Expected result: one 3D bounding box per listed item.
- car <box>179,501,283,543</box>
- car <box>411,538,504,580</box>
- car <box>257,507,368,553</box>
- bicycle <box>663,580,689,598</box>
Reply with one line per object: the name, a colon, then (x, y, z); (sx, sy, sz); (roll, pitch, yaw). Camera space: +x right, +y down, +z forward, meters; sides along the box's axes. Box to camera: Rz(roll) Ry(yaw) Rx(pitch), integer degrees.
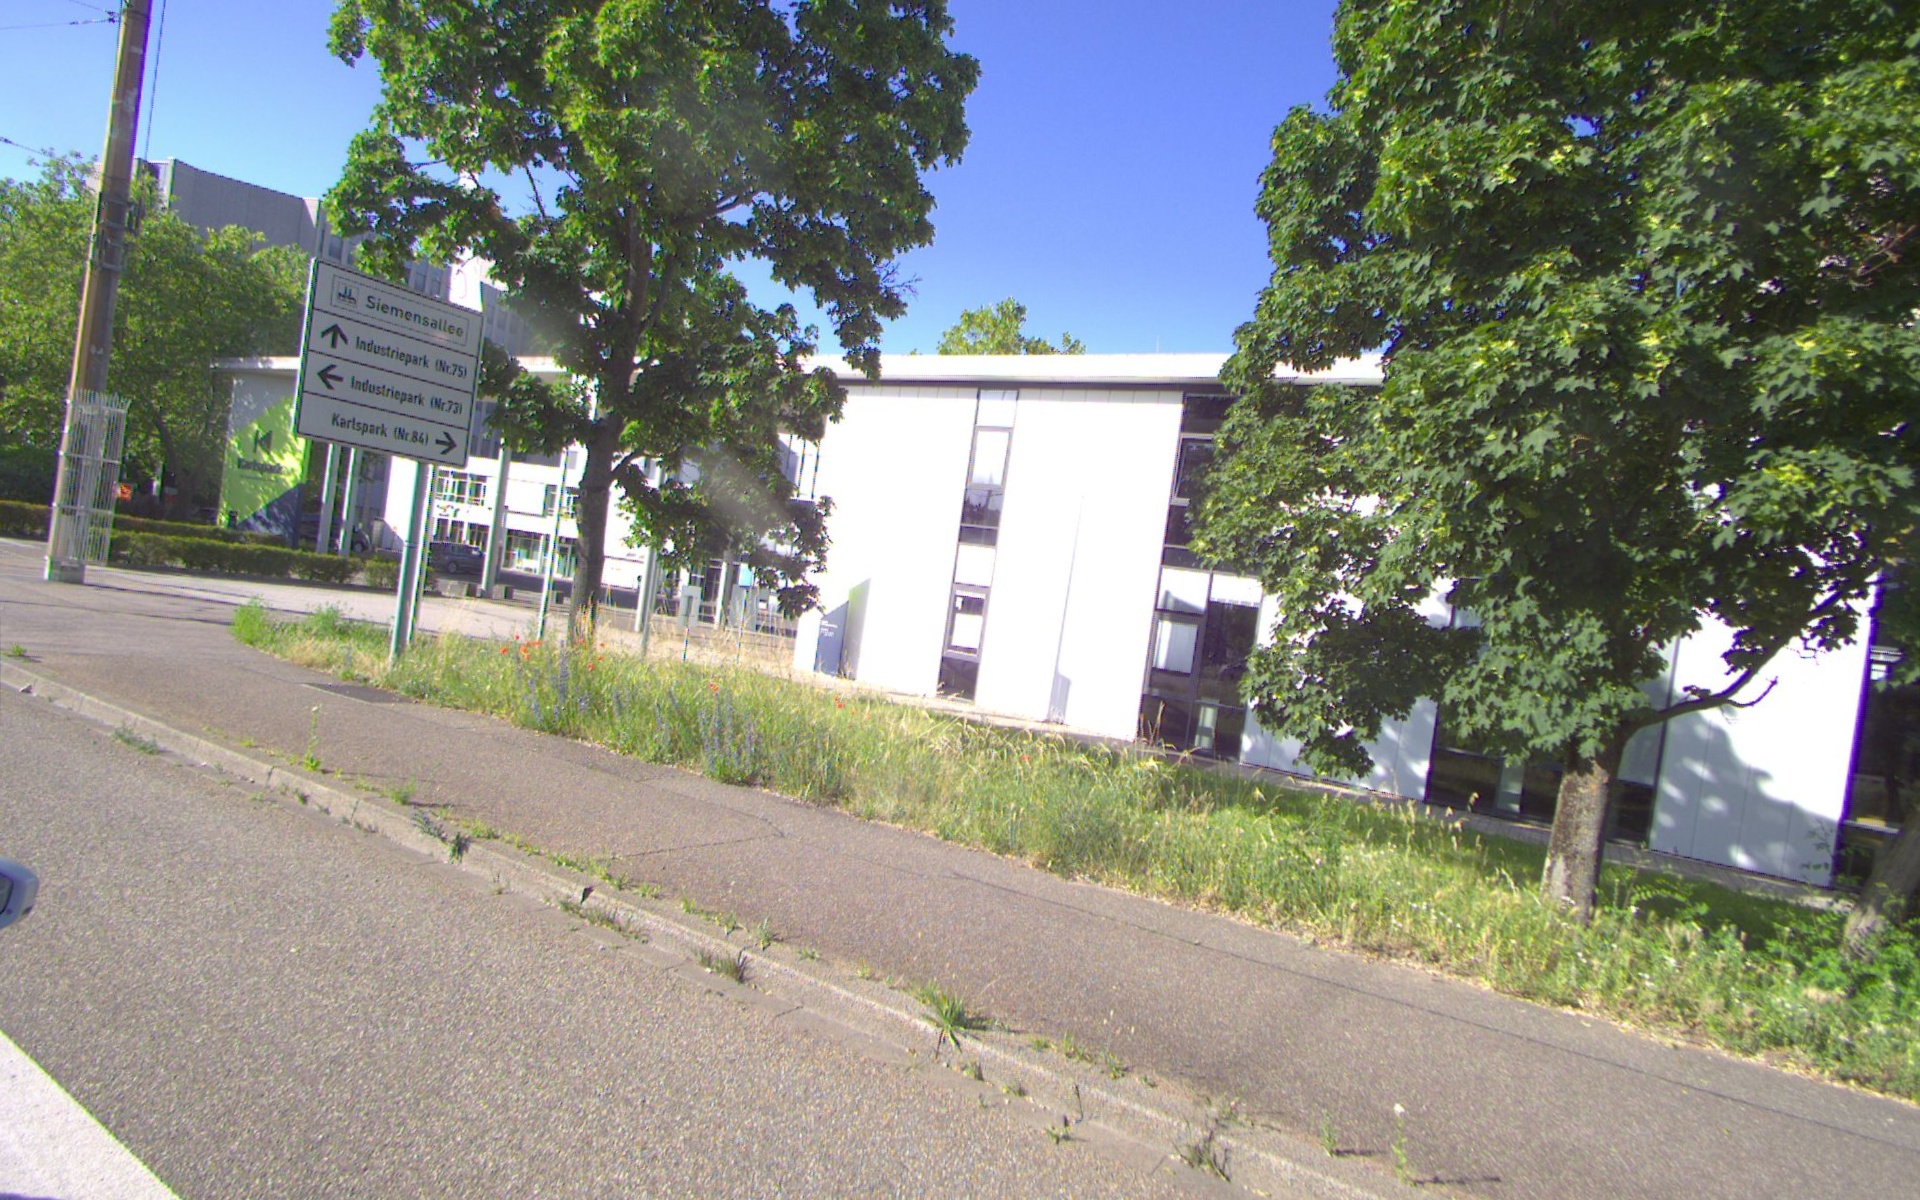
car: (-42.621, -4.551, 58.941); (1.861, 1.706, 4.468); (8, -1, 26)
car: (-26.641, -2.144, 53.424); (1.918, 1.597, 4.000); (7, -1, 23)
car: (-36.245, -3.874, 56.482); (2.052, 1.778, 4.900); (8, -1, 17)
bicycle: (-20.221, -0.796, 71.641); (1.591, 1.016, 0.566); (8, 0, 17)
